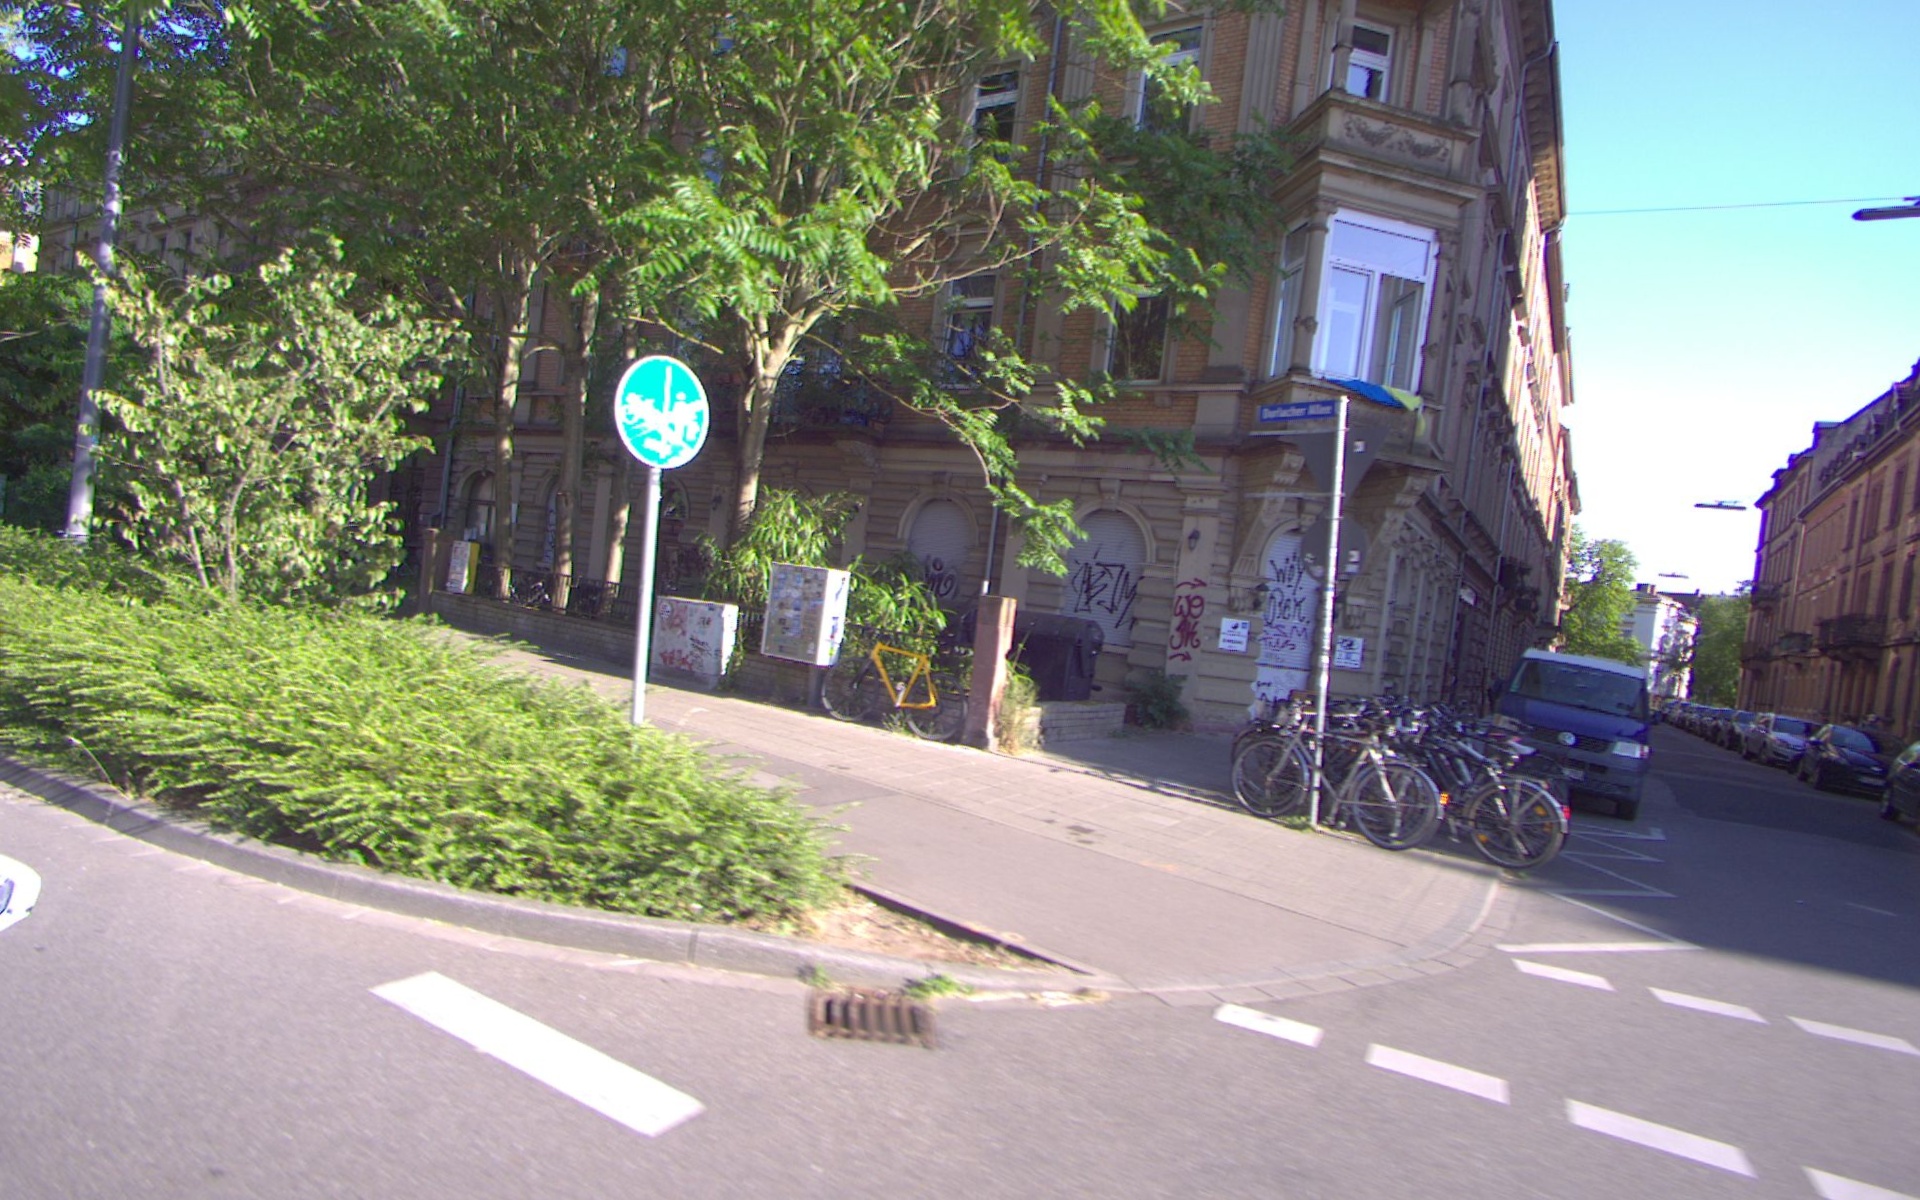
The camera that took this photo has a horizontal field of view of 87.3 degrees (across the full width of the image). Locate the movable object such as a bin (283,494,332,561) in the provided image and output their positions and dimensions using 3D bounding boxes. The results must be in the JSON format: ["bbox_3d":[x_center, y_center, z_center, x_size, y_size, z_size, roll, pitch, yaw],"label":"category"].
[{"bbox_3d":[-18.066,-2.003,27.868,0.730,1.715,0.754,11,4,31],"label":"movable object such as a bin"}]

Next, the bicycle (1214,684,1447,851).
[{"bbox_3d":[3.361,1.481,9.215,1.790,1.062,0.518,11,4,32],"label":"bicycle"}]

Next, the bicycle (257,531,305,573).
[{"bbox_3d":[-15.775,-1.116,23.385,0.369,0.865,0.769,11,4,30],"label":"bicycle"}]

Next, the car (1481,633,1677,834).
[{"bbox_3d":[8.840,1.796,14.497,1.745,2.150,4.583,11,2,31],"label":"car"}]

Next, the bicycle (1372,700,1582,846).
[{"bbox_3d":[5.432,1.784,10.629,1.790,1.062,0.518,11,4,32],"label":"bicycle"}]

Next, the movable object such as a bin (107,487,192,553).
[{"bbox_3d":[-20.134,-1.975,24.990,1.236,1.400,1.232,8,2,32],"label":"movable object such as a bin"}]

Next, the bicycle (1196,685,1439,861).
[{"bbox_3d":[3.086,1.455,8.783,1.790,1.062,0.518,11,4,32],"label":"bicycle"}]

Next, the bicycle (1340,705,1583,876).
[{"bbox_3d":[4.534,1.679,9.159,1.790,1.062,0.518,11,4,32],"label":"bicycle"}]

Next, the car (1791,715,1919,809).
[{"bbox_3d":[19.769,3.475,22.076,1.784,1.433,4.251,11,3,35],"label":"car"}]

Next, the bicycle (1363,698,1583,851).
[{"bbox_3d":[5.158,1.715,10.175,1.790,1.062,0.518,11,4,32],"label":"bicycle"}]

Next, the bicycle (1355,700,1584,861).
[{"bbox_3d":[4.879,1.689,9.700,1.790,1.062,0.518,11,4,32],"label":"bicycle"}]

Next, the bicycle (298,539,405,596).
[{"bbox_3d":[-11.953,-0.623,19.795,0.530,0.937,1.652,11,3,34],"label":"bicycle"}]

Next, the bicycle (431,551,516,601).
[{"bbox_3d":[-10.855,-0.525,22.482,0.436,0.937,1.595,12,4,36],"label":"bicycle"}]

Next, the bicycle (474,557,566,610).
[{"bbox_3d":[-9.336,-0.339,21.413,0.436,0.937,1.729,12,4,36],"label":"bicycle"}]

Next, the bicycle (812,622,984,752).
[{"bbox_3d":[-0.669,0.880,10.569,1.693,1.001,0.525,11,4,32],"label":"bicycle"}]

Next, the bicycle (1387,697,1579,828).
[{"bbox_3d":[6.027,1.837,11.647,1.790,1.062,0.518,11,4,32],"label":"bicycle"}]

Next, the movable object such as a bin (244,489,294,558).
[{"bbox_3d":[-18.583,-2.053,27.050,0.730,1.715,0.754,11,4,31],"label":"movable object such as a bin"}]

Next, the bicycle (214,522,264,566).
[{"bbox_3d":[-16.261,-1.257,22.683,0.369,0.865,0.769,11,4,30],"label":"bicycle"}]

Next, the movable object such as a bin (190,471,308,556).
[{"bbox_3d":[-20.206,-2.462,28.584,3.177,2.022,1.546,8,2,32],"label":"movable object such as a bin"}]

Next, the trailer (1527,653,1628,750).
[{"bbox_3d":[17.617,2.809,28.611,1.967,2.218,3.987,11,3,34],"label":"trailer"}]

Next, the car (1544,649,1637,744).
[{"bbox_3d":[21.124,3.119,33.650,2.030,2.552,5.958,11,3,33],"label":"car"}]

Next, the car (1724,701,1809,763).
[{"bbox_3d":[27.866,4.516,34.878,1.784,1.608,4.251,11,3,35],"label":"car"}]

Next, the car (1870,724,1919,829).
[{"bbox_3d":[15.898,2.906,15.692,1.784,1.433,4.251,11,3,35],"label":"car"}]

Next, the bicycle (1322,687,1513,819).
[{"bbox_3d":[5.216,1.707,11.533,1.790,1.062,0.518,11,4,32],"label":"bicycle"}]

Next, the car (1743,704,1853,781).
[{"bbox_3d":[23.586,3.948,28.477,1.784,1.608,4.251,11,3,35],"label":"car"}]
